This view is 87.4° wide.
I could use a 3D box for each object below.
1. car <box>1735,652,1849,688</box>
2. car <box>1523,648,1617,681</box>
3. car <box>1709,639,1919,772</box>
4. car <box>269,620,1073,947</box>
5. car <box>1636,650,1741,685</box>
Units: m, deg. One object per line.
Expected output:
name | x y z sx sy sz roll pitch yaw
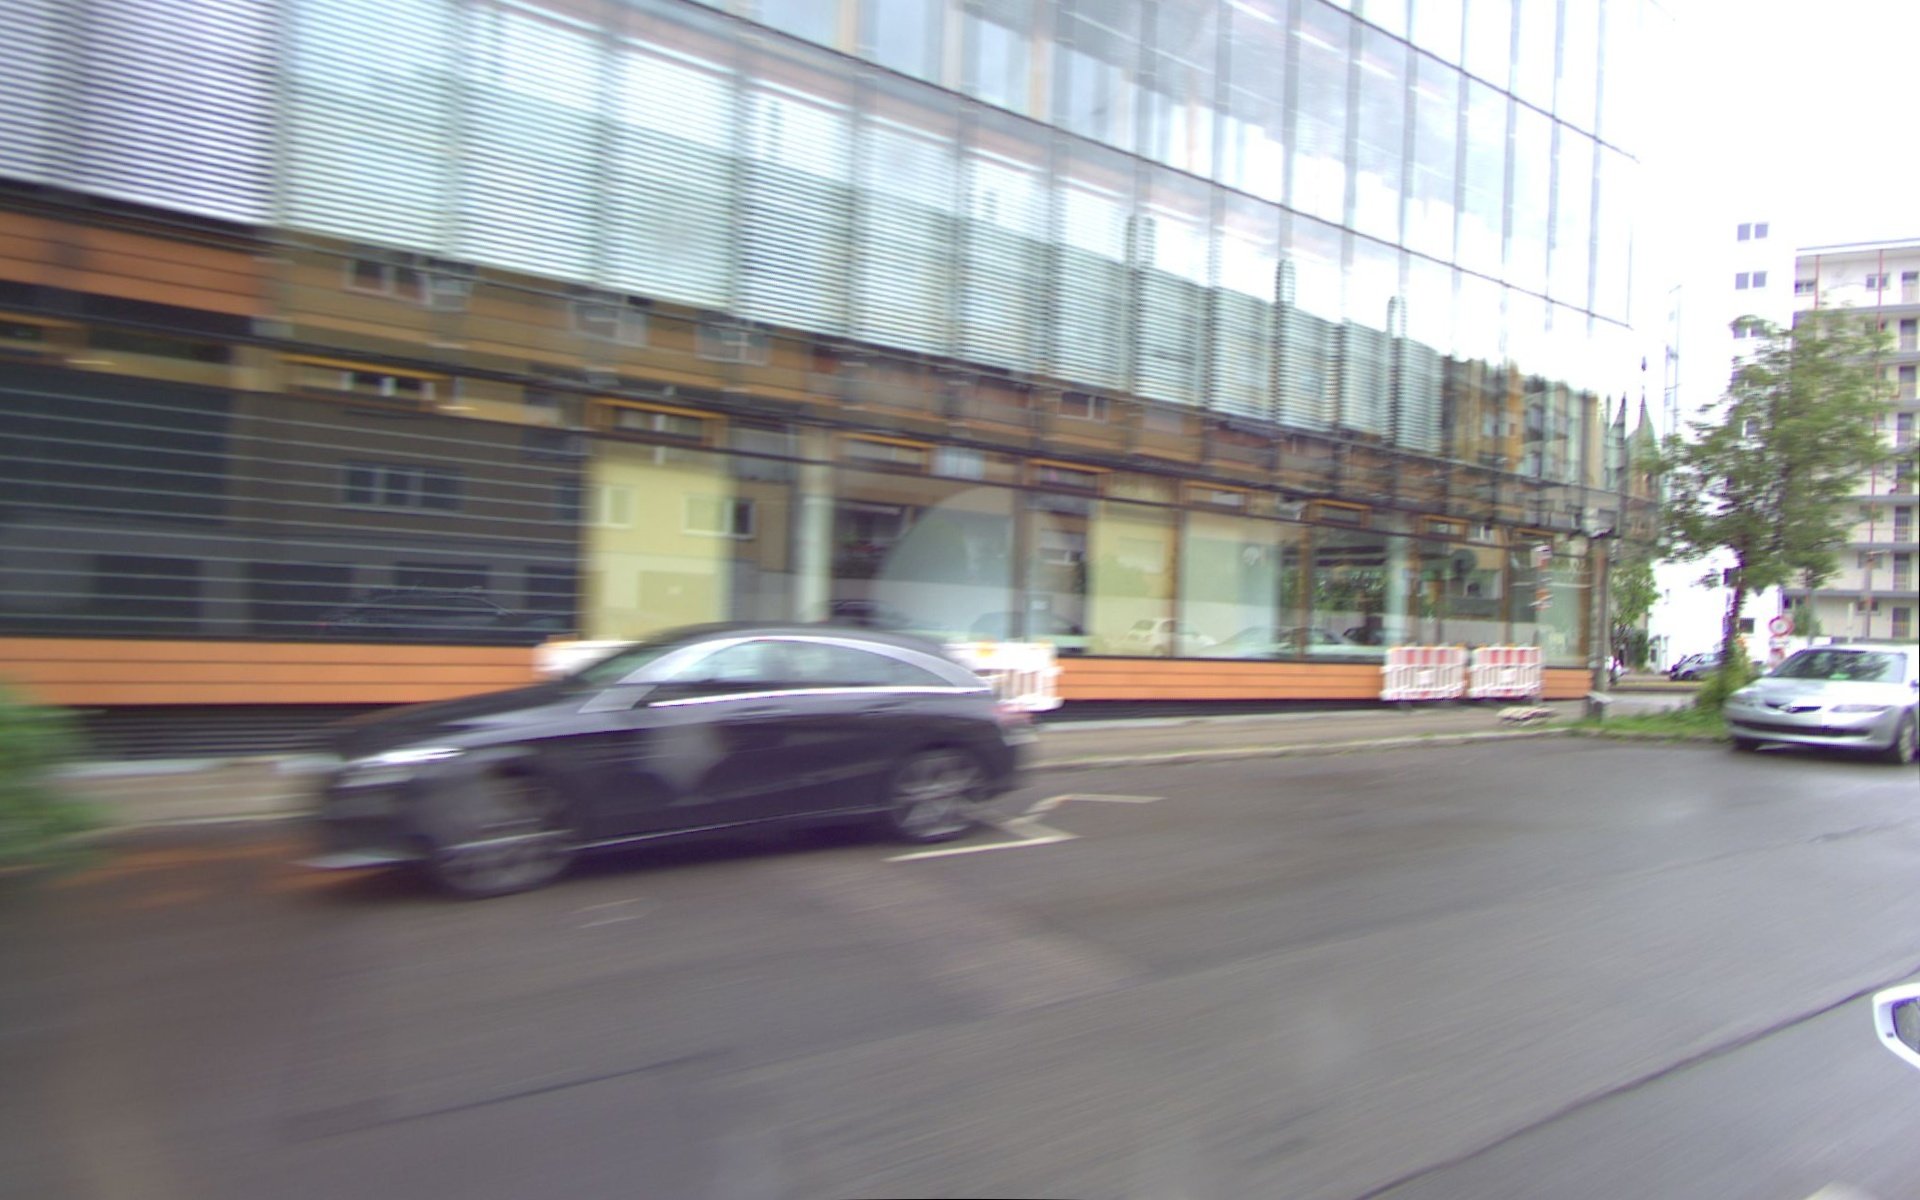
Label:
car | 40.577 3.401 49.080 3.923 1.530 1.799 1 0 23
car | 31.620 3.325 52.158 3.923 1.530 1.799 1 0 23
car | 11.897 1.290 13.306 4.245 1.470 1.701 2 -1 -31
car | -1.628 0.907 6.550 4.606 1.470 1.793 2 -1 -32
car | 36.489 3.373 50.411 3.923 1.530 1.799 1 0 23
